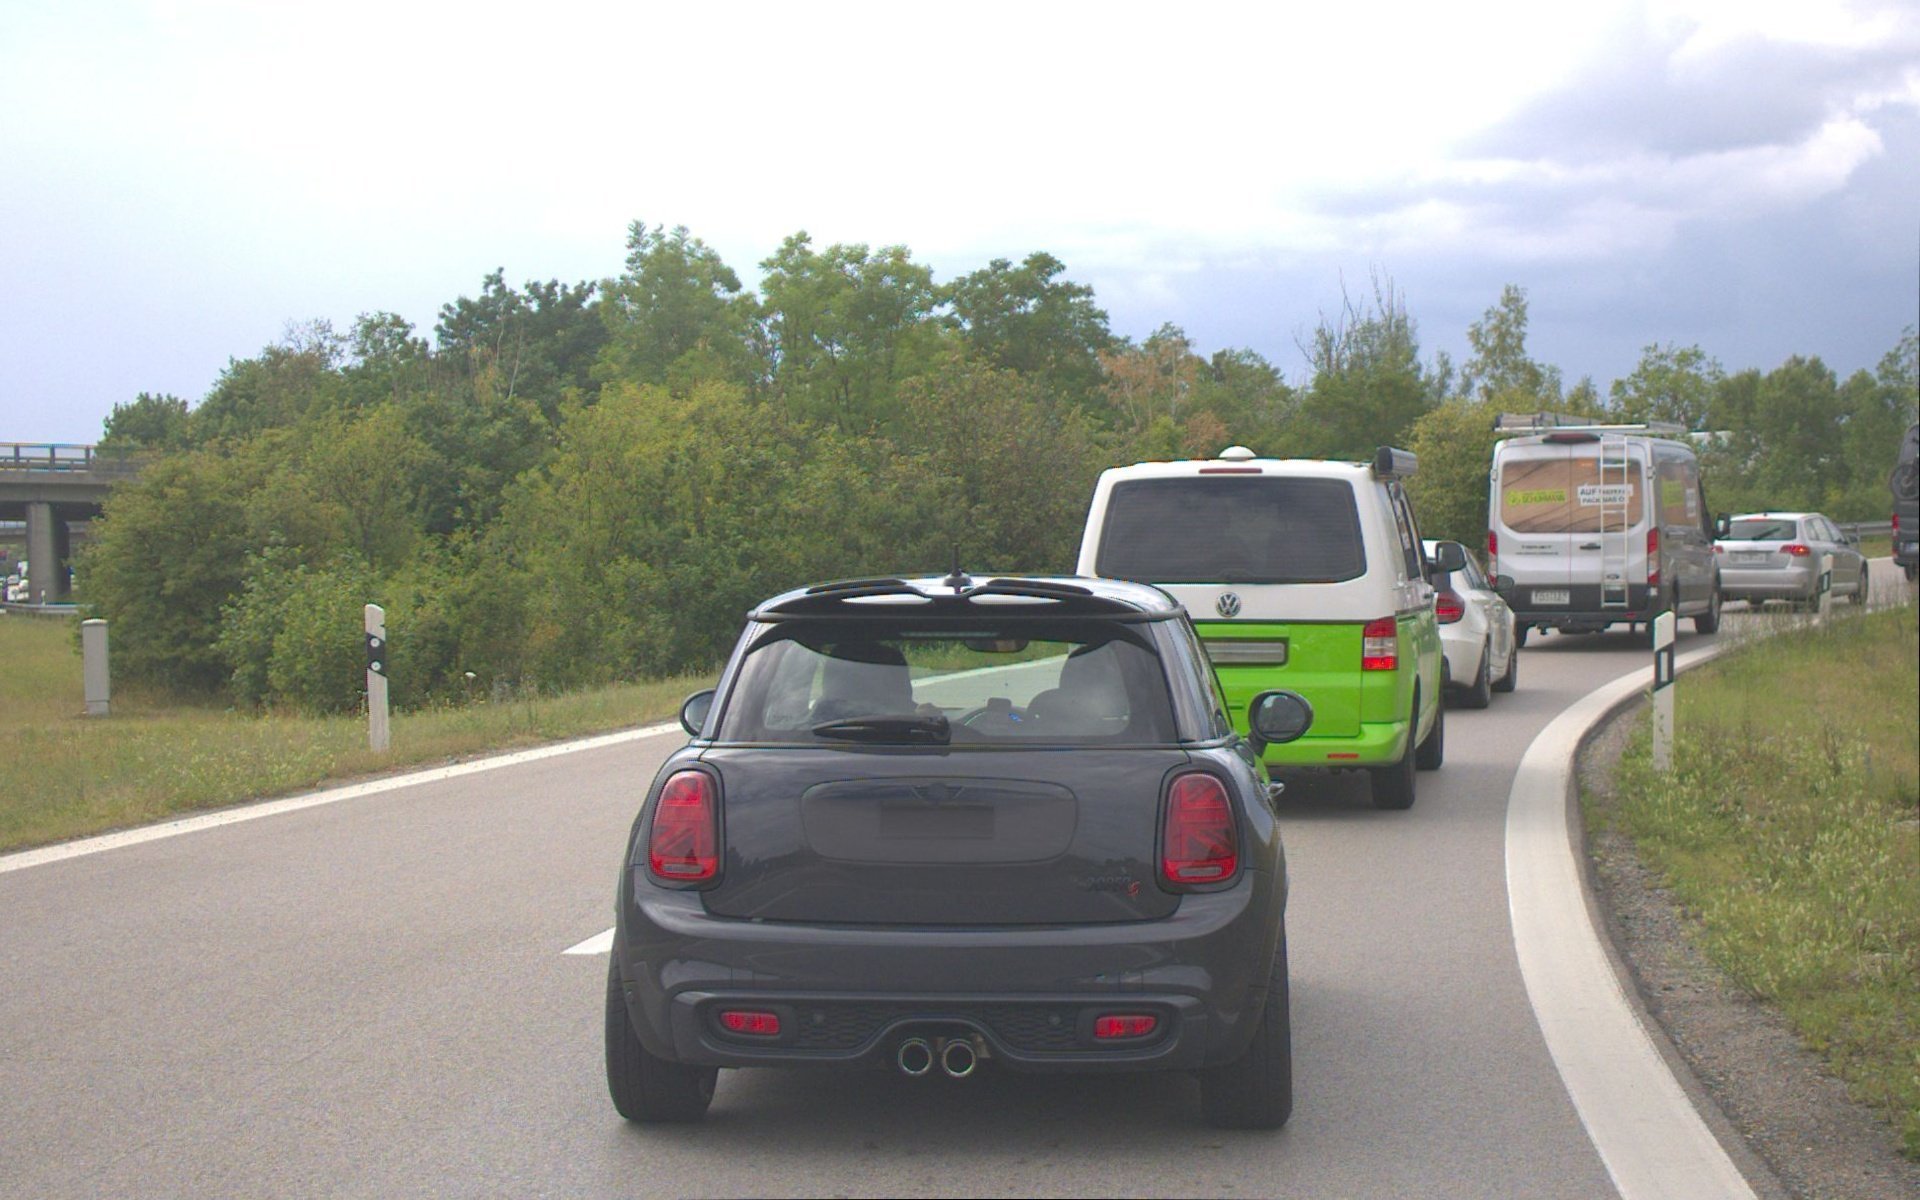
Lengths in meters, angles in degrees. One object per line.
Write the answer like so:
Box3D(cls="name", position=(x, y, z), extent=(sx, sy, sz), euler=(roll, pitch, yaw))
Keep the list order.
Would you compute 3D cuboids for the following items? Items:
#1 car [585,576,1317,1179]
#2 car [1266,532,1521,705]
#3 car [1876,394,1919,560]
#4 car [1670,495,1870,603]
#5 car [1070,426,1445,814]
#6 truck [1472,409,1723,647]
Box3D(cls="car", position=(0.091, 0.640, 9.994), extent=(1.727, 1.409, 3.725), euler=(0, 0, 4))
Box3D(cls="car", position=(3.810, 0.139, 29.726), extent=(1.763, 1.394, 3.723), euler=(0, 0, 14))
Box3D(cls="car", position=(17.411, -2.066, 59.257), extent=(2.108, 2.787, 3.993), euler=(1, 1, 31))
Box3D(cls="car", position=(11.884, -0.733, 50.250), extent=(1.869, 1.505, 3.994), euler=(0, 0, 28))
Box3D(cls="car", position=(1.821, 0.082, 19.931), extent=(1.785, 2.007, 3.998), euler=(0, 0, 10))
Box3D(cls="truck", position=(7.693, -0.860, 41.070), extent=(2.180, 2.649, 5.104), euler=(0, 1, 19))
